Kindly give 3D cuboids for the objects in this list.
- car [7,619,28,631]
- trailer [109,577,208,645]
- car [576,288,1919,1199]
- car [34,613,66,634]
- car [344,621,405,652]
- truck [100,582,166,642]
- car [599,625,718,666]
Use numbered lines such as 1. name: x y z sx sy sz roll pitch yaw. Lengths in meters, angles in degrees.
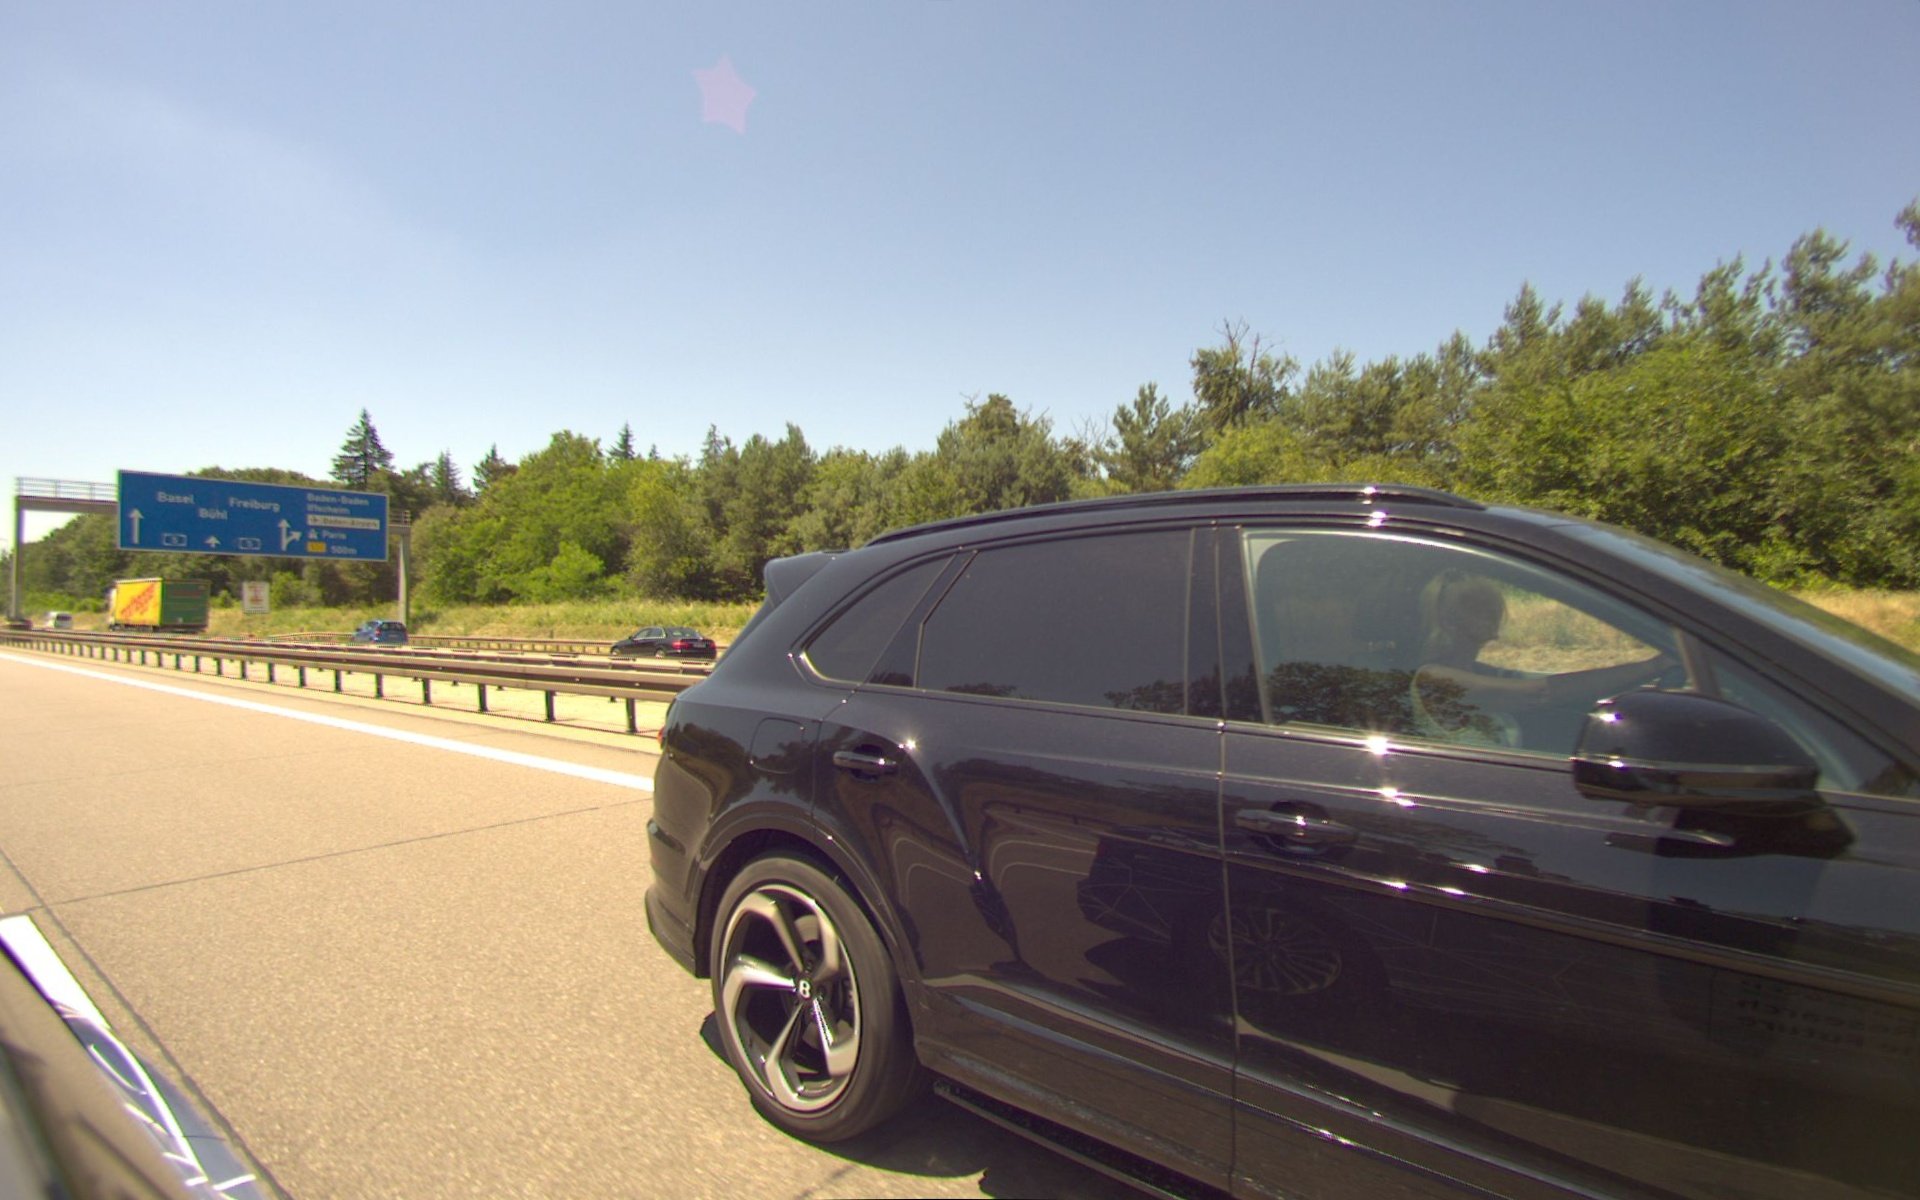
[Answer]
1. car: -133.867 3.590 143.773 4.609 1.603 1.629 -1 -4 41
2. trailer: -54.038 0.812 68.013 14.270 4.104 2.438 -1 -4 41
3. car: 1.583 0.510 2.099 5.810 1.765 1.920 -1 -1 41
4. car: -107.760 2.753 119.801 5.805 2.358 1.967 -1 -4 40
5. car: -31.331 1.927 54.121 4.108 1.552 1.508 -1 -4 41
6. truck: -59.344 0.911 72.612 6.283 4.104 2.438 -1 -4 41
7. car: -10.821 1.609 36.152 4.887 1.376 1.658 -1 -4 41
